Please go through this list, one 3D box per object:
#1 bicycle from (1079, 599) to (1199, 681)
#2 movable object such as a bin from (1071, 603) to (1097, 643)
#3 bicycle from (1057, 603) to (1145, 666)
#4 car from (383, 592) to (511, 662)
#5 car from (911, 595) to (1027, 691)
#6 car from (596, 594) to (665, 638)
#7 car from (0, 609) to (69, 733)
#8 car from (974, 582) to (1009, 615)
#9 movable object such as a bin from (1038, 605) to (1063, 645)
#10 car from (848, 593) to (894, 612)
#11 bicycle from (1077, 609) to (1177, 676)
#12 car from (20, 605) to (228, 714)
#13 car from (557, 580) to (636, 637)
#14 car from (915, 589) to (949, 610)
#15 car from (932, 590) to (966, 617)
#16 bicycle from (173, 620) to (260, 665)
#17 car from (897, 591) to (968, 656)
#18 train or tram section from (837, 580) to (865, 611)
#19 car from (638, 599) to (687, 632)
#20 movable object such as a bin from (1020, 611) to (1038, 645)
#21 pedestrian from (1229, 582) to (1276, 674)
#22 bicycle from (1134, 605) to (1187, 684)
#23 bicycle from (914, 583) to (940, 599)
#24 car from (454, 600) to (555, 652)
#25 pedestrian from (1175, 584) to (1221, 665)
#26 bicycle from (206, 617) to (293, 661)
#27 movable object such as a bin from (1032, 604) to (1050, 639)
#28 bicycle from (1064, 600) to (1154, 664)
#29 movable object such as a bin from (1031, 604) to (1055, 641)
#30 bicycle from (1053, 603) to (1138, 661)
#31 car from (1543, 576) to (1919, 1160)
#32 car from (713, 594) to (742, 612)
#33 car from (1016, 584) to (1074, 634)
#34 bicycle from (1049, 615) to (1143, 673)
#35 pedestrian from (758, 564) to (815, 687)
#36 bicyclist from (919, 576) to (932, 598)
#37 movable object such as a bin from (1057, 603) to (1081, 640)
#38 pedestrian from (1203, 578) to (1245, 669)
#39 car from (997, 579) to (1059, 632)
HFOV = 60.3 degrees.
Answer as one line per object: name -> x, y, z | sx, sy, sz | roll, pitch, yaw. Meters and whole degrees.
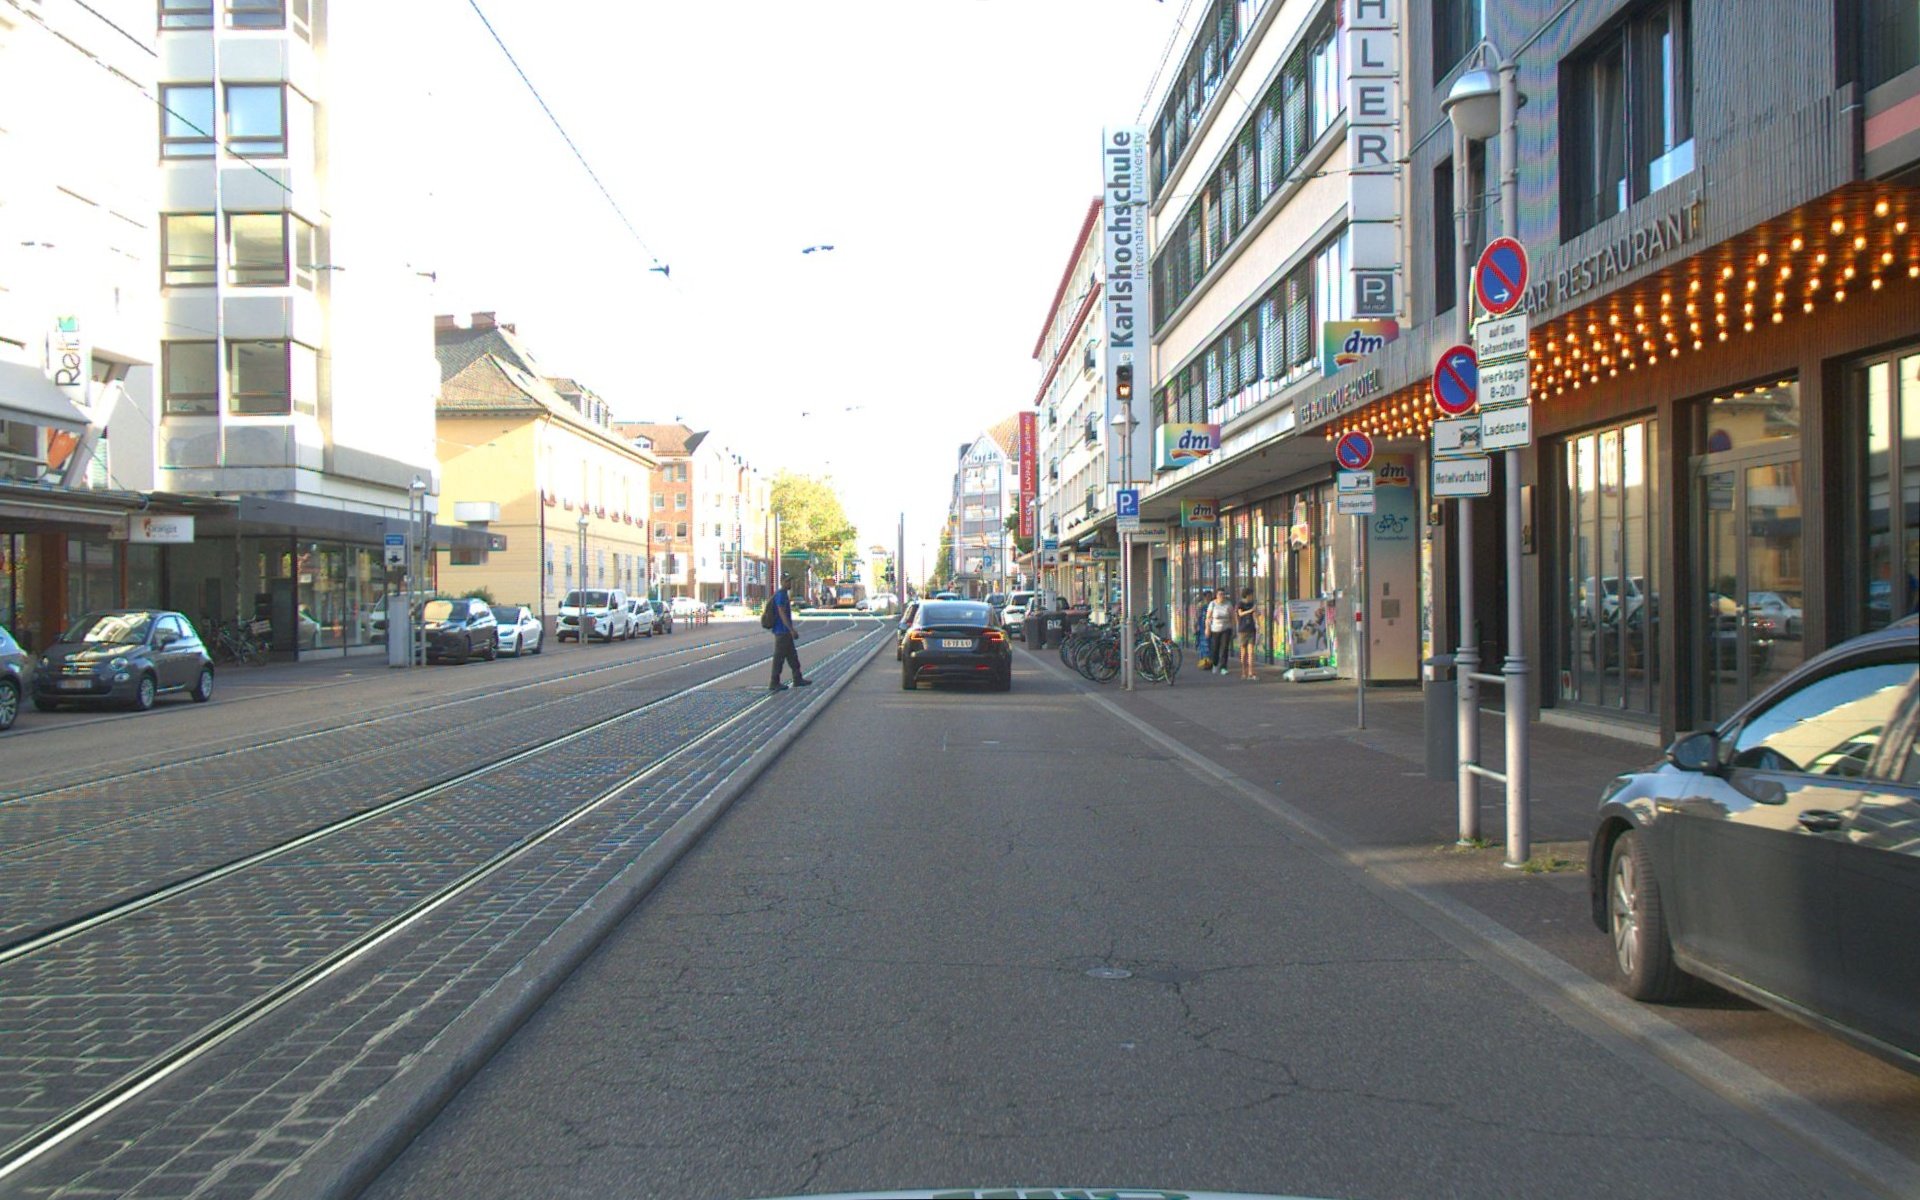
bicycle -> 3.171, 0.702, 29.338 | 2.000, 1.296, 0.523 | -4, 1, -11
movable object such as a bin -> 3.571, 0.657, 47.675 | 0.676, 1.108, 0.666 | -2, 0, 2
bicycle -> 2.932, 0.710, 34.506 | 1.751, 1.238, 0.669 | -2, 0, -2
car -> -13.410, 0.668, 43.527 | 1.938, 1.708, 4.654 | 1, 0, -1
car -> 0.089, 0.686, 28.077 | 1.812, 1.510, 3.785 | 1, 0, -2
car -> -13.711, 0.641, 69.055 | 1.770, 1.715, 4.649 | 1, 0, 1
car -> -13.063, 0.895, 20.234 | 1.702, 1.550, 4.851 | 1, 0, 0
car -> 1.638, -0.091, 87.480 | 1.710, 1.660, 3.648 | -2, 1, -1
movable object such as a bin -> 2.599, 0.722, 47.672 | 0.676, 1.108, 0.686 | -2, 0, 2
car -> -8.495, 0.232, 157.549 | 3.934, 1.707, 1.986 | -1, 0, -23
bicycle -> 3.040, 0.768, 30.128 | 1.739, 1.150, 0.478 | -2, 0, -7
car -> -12.994, 0.873, 25.937 | 1.569, 1.550, 3.587 | 1, 0, -4
car -> -13.721, 0.305, 62.703 | 1.953, 2.009, 5.095 | 1, 0, -2
car -> -2.159, -0.009, 126.589 | 1.793, 1.545, 4.203 | 1, 0, -13
car -> -0.668, 0.208, 99.671 | 1.748, 1.545, 4.214 | 1, 0, -4
bicycle -> -17.899, 1.020, 39.827 | 1.897, 1.016, 0.380 | 1, 0, 0
car -> -0.641, 0.543, 40.461 | 1.620, 1.443, 4.000 | 1, 1, 0
train or tram section -> -13.599, -0.533, 207.191 | 2.620, 3.780, 14.190 | 1, 0, 0
car -> -13.342, 0.665, 74.415 | 1.581, 1.425, 3.719 | 1, 0, -2
movable object such as a bin -> 1.999, 0.810, 47.847 | 0.477, 0.975, 0.458 | -2, 0, 2
pedestrian -> 4.971, 0.472, 28.125 | 0.571, 1.519, 0.524 | -3, 0, -10
bicycle -> 3.384, 0.735, 28.056 | 0.570, 1.279, 1.601 | -3, 0, -3
bicycle -> -2.306, -0.651, 116.151 | 1.696, 1.107, 0.677 | 1, 0, -9
car -> -13.532, 0.734, 49.398 | 1.850, 1.446, 4.654 | 1, 0, -2
pedestrian -> 4.570, 0.471, 31.782 | 0.576, 1.512, 0.591 | -3, 0, -32
bicycle -> -17.311, 0.943, 40.311 | 1.897, 1.016, 0.423 | 1, 0, 0
movable object such as a bin -> 2.401, 0.638, 49.204 | 0.511, 1.032, 0.671 | -1, 0, 1
bicycle -> 3.041, 0.644, 33.811 | 1.751, 1.238, 0.587 | -2, 0, -2
movable object such as a bin -> 2.423, 0.658, 48.448 | 0.672, 1.032, 0.508 | -1, 0, 1
bicycle -> 2.918, 0.684, 35.673 | 1.751, 1.179, 0.669 | -2, 0, -2
car -> 3.355, 0.692, 4.726 | 1.687, 1.510, 4.415 | -3, 0, -1
car -> -20.025, 0.235, 142.747 | 1.864, 1.489, 4.000 | 1, 0, 1
car -> 2.773, 0.287, 54.637 | 1.581, 1.555, 4.069 | -2, 0, -2
bicycle -> 2.655, 0.860, 32.384 | 1.737, 1.050, 0.596 | -2, 0, -2
pedestrian -> -2.733, 0.397, 26.132 | 0.788, 1.869, 0.746 | -2, 0, -3
bicyclist -> -2.394, -0.924, 116.143 | 0.821, 1.526, 0.559 | 1, 0, -9
movable object such as a bin -> 3.176, 0.623, 48.377 | 0.644, 1.032, 0.636 | -1, 0, 1
pedestrian -> 4.833, 0.430, 30.259 | 0.570, 1.613, 0.597 | -3, 0, -3
car -> 2.419, 0.180, 59.727 | 1.812, 1.754, 5.191 | -3, 0, -2
